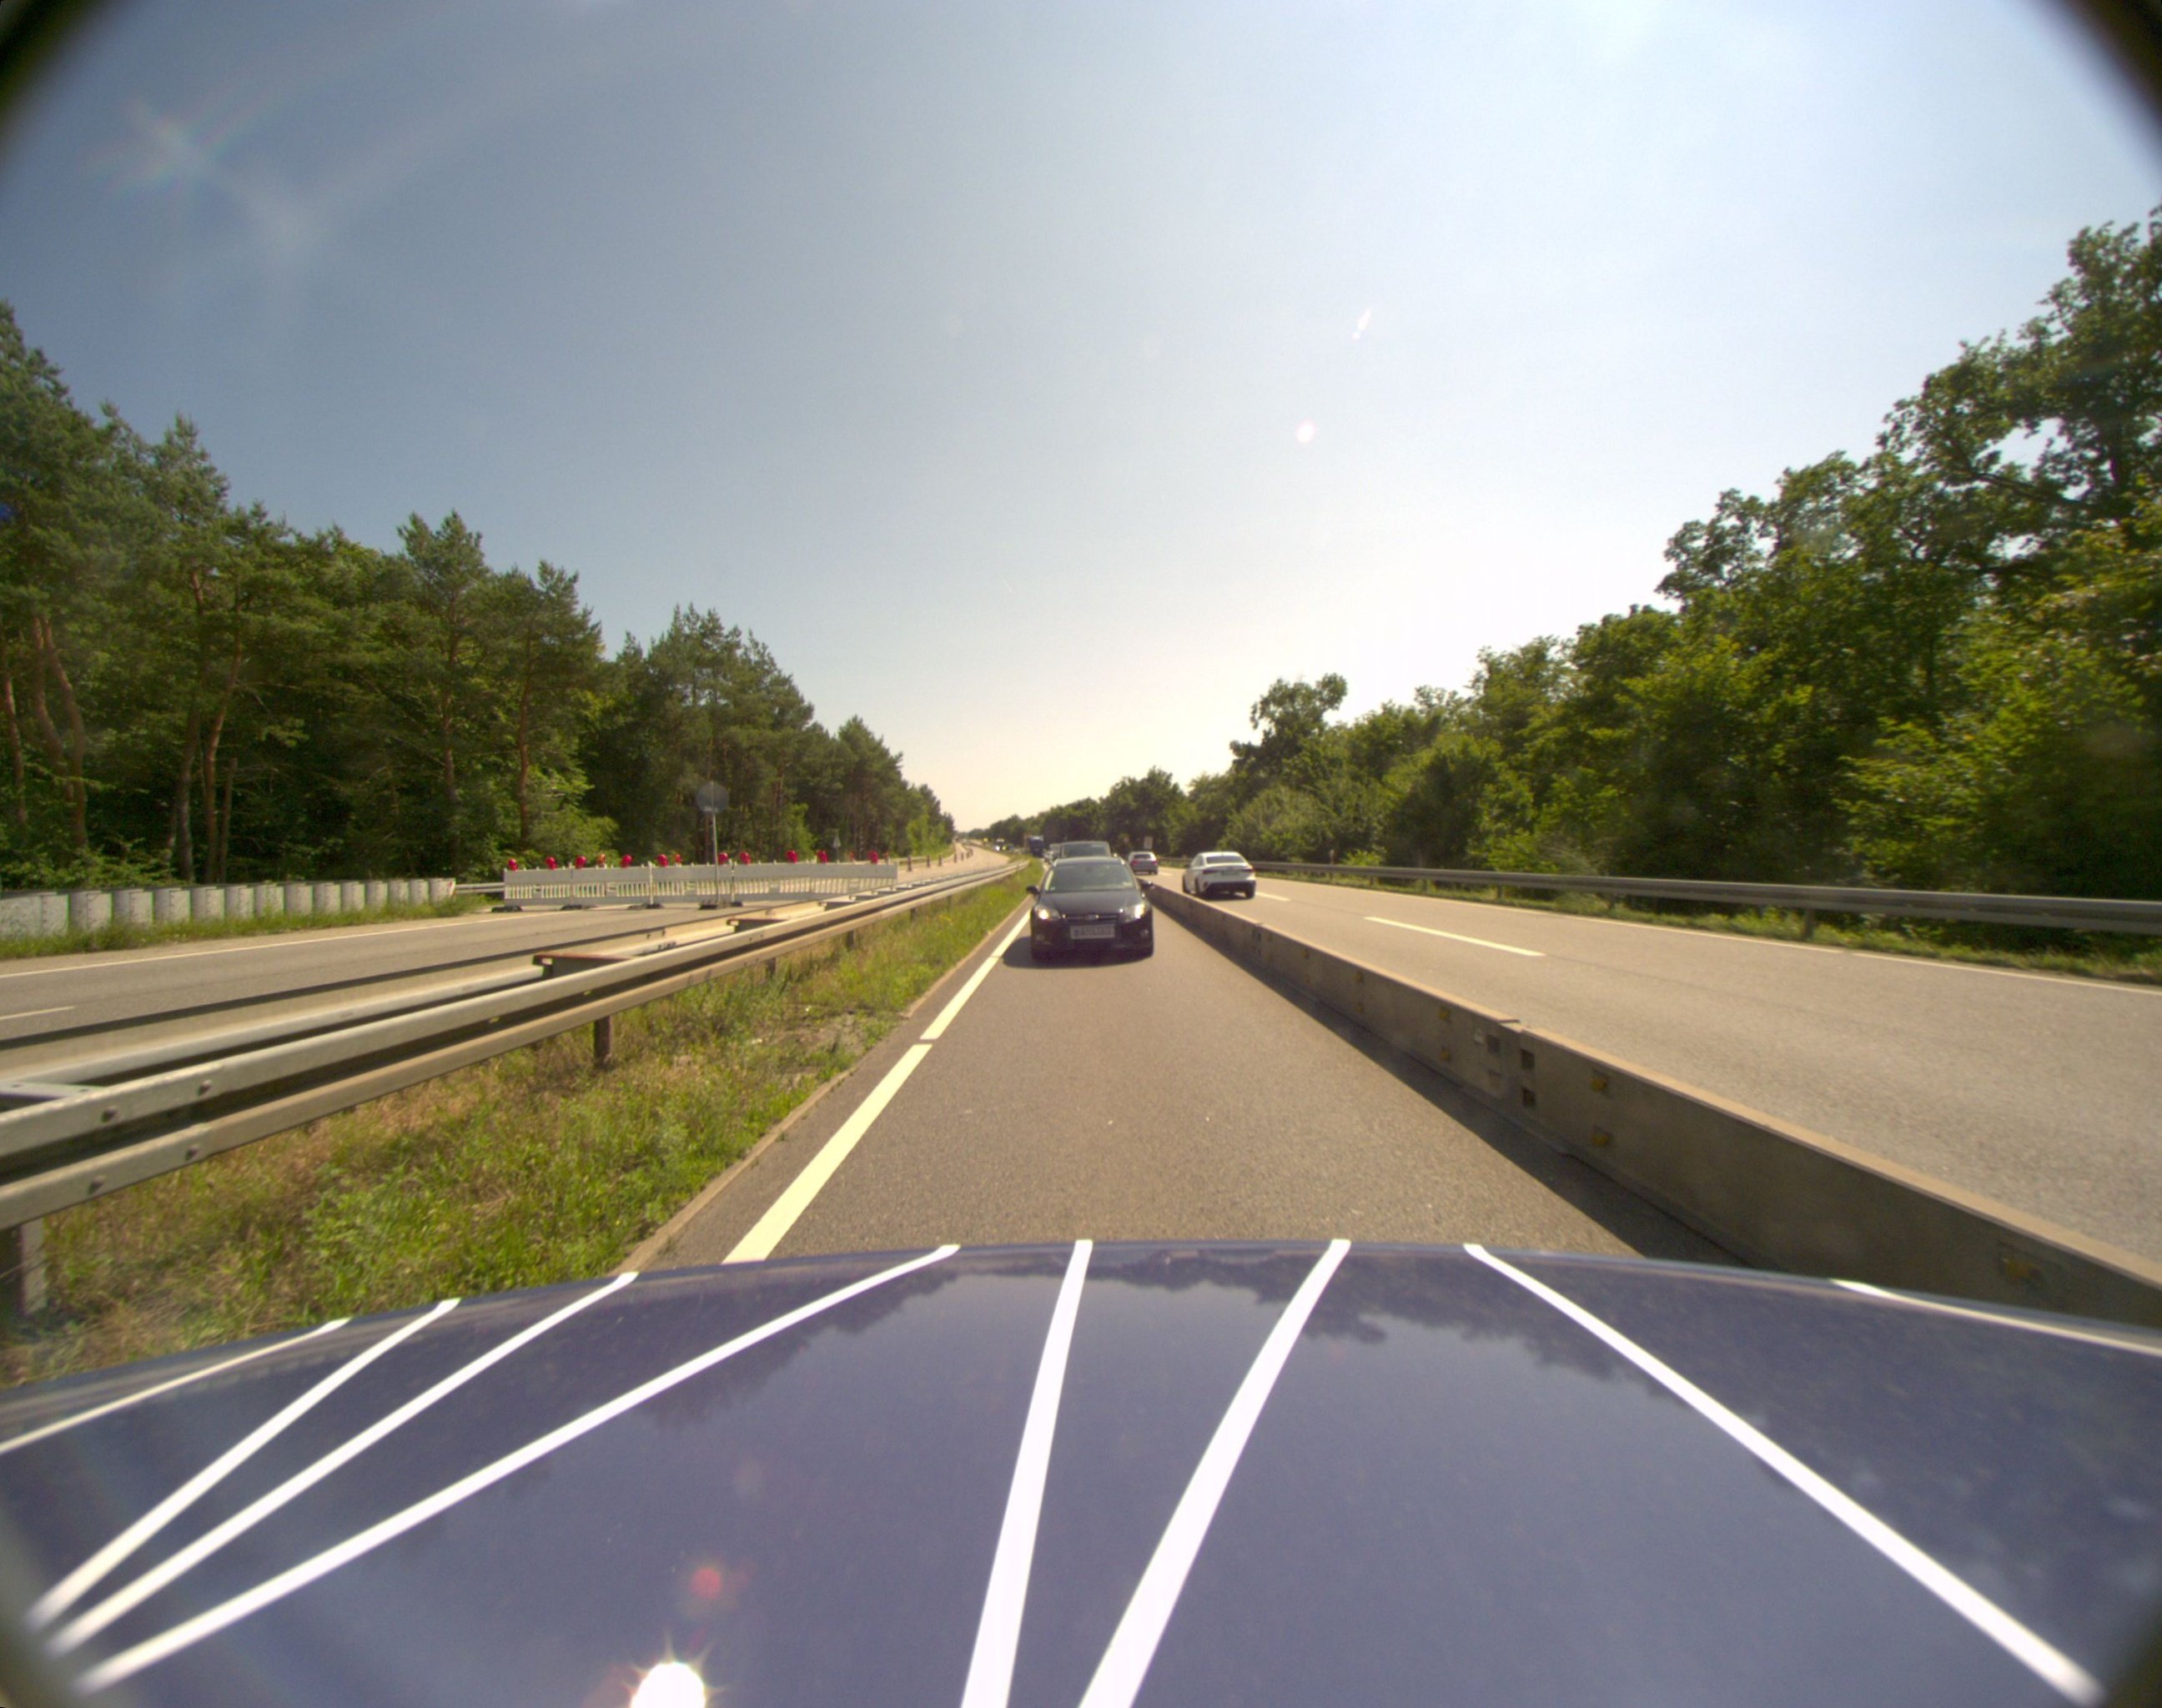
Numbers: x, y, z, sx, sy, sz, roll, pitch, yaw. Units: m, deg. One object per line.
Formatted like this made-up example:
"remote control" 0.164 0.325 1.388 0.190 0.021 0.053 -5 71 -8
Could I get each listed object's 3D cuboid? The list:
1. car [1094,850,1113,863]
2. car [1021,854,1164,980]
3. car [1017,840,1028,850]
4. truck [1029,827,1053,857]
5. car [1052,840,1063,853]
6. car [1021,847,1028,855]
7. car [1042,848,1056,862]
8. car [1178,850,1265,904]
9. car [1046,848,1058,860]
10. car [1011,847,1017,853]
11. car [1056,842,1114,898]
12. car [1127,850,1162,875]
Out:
"car" 2.465 0.268 83.208 1.820 1.416 4.107 -2 0 -1
"car" 0.125 0.837 12.567 1.847 1.537 4.934 -2 1 -1
"car" -11.409 -1.765 147.975 1.999 1.773 3.998 -1 1 -4
"truck" -7.568 -2.228 142.031 3.831 5.267 11.240 -1 1 -5
"car" -4.635 -1.508 152.142 2.067 2.471 5.558 -2 1 -2
"car" -12.849 -0.694 172.843 1.527 1.647 3.978 -2 1 -4
"car" -3.757 0.100 88.976 1.527 1.647 3.979 -1 1 -4
"car" 4.427 0.674 24.660 1.954 1.530 4.435 -2 1 0
"car" -3.967 0.035 103.519 1.527 1.647 3.752 0 0 -4
"car" -18.673 -1.163 212.655 1.528 1.647 3.977 -1 1 -7
"car" 0.064 0.542 28.674 1.960 1.901 4.934 -1 0 -2
"car" 3.966 0.487 48.311 1.729 1.487 4.387 -2 0 -1
